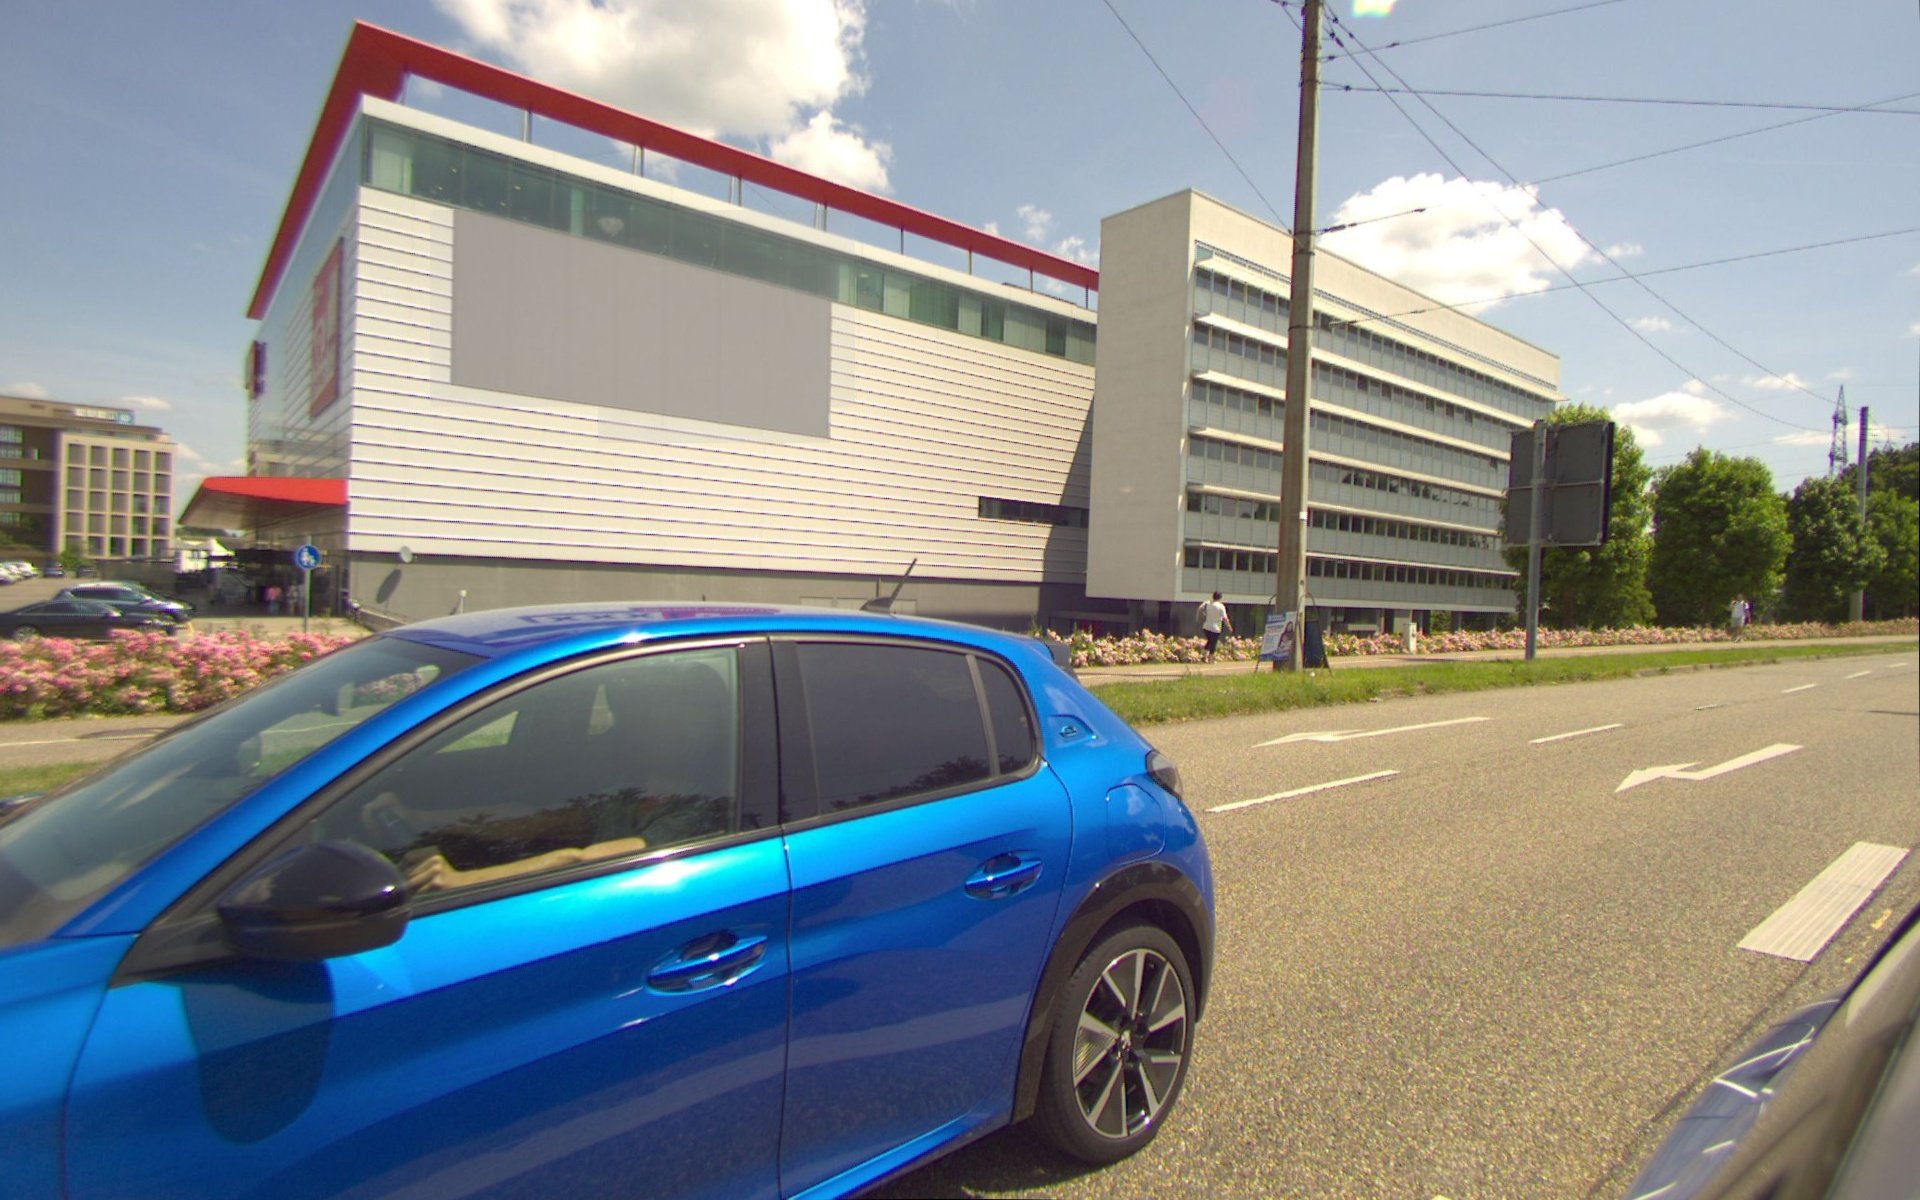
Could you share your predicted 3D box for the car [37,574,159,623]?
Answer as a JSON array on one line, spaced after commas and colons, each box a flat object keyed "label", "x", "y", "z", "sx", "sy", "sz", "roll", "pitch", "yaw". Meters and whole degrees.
[{"label": "car", "x": -37.237, "y": -0.096, "z": 43.806, "sx": 3.930, "sy": 2.039, "sz": 1.997, "roll": 0, "pitch": 1, "yaw": -41}]

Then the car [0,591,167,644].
[{"label": "car", "x": -29.181, "y": 0.548, "z": 33.208, "sx": 4.912, "sy": 1.631, "sz": 1.997, "roll": 0, "pitch": 0, "yaw": -41}]

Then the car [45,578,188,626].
[{"label": "car", "x": -33.268, "y": 0.093, "z": 40.049, "sx": 4.256, "sy": 1.804, "sz": 1.997, "roll": 0, "pitch": -1, "yaw": -41}]

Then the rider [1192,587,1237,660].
[{"label": "rider", "x": 5.288, "y": 0.477, "z": 21.018, "sx": 0.607, "sy": 1.476, "sz": 0.670, "roll": 0, "pitch": 0, "yaw": -41}]

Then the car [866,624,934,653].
[{"label": "car", "x": -3.797, "y": 2.426, "z": 64.440, "sx": 3.930, "sy": 1.632, "sz": 1.997, "roll": 0, "pitch": 0, "yaw": -41}]

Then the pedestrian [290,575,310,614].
[{"label": "pedestrian", "x": -32.671, "y": -0.258, "z": 50.087, "sx": 0.723, "sy": 1.893, "sz": 0.741, "roll": 1, "pitch": 0, "yaw": -42}]

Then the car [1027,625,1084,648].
[{"label": "car", "x": 6.574, "y": 2.489, "z": 69.615, "sx": 3.930, "sy": 1.403, "sz": 1.646, "roll": 0, "pitch": 0, "yaw": -41}]

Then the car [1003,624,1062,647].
[{"label": "car", "x": 5.127, "y": 2.462, "z": 71.732, "sx": 3.930, "sy": 1.465, "sz": 1.997, "roll": 0, "pitch": 0, "yaw": -41}]

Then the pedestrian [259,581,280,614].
[{"label": "pedestrian", "x": -33.587, "y": -0.115, "z": 49.239, "sx": 0.723, "sy": 1.577, "sz": 0.741, "roll": 1, "pitch": 0, "yaw": -42}]

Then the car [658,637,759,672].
[{"label": "car", "x": -11.976, "y": 2.574, "z": 48.313, "sx": 4.278, "sy": 1.416, "sz": 1.996, "roll": 0, "pitch": 0, "yaw": -42}]

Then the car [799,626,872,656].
[{"label": "car", "x": -7.449, "y": 2.425, "z": 60.791, "sx": 3.930, "sy": 1.632, "sz": 1.997, "roll": 0, "pitch": 0, "yaw": -41}]

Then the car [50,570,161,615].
[{"label": "car", "x": -40.565, "y": -0.361, "z": 48.120, "sx": 3.930, "sy": 2.039, "sz": 1.997, "roll": 0, "pitch": 0, "yaw": -41}]

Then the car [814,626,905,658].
[{"label": "car", "x": -5.844, "y": 2.440, "z": 59.178, "sx": 5.056, "sy": 1.632, "sz": 1.997, "roll": 0, "pitch": 0, "yaw": -41}]

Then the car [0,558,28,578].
[{"label": "car", "x": -81.487, "y": -2.703, "z": 84.745, "sx": 4.912, "sy": 1.631, "sz": 1.997, "roll": 0, "pitch": 0, "yaw": -41}]

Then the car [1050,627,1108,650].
[{"label": "car", "x": 8.013, "y": 2.551, "z": 67.922, "sx": 3.930, "sy": 1.338, "sz": 1.607, "roll": 0, "pitch": 0, "yaw": -41}]

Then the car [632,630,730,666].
[{"label": "car", "x": -14.418, "y": 2.446, "z": 52.466, "sx": 4.509, "sy": 1.632, "sz": 1.997, "roll": 0, "pitch": 0, "yaw": -41}]

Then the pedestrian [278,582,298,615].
[{"label": "pedestrian", "x": -32.490, "y": -0.092, "z": 48.924, "sx": 0.723, "sy": 1.577, "sz": 0.741, "roll": 1, "pitch": 0, "yaw": -42}]

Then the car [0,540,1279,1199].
[{"label": "car", "x": -1.123, "y": 0.676, "z": 2.463, "sx": 3.929, "sy": 1.473, "sz": 1.840, "roll": 1, "pitch": -1, "yaw": -41}]

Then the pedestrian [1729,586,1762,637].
[{"label": "pedestrian", "x": 29.584, "y": 0.422, "z": 38.110, "sx": 0.913, "sy": 1.872, "sz": 0.758, "roll": 1, "pitch": 0, "yaw": -38}]

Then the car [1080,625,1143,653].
[{"label": "car", "x": 9.864, "y": 2.505, "z": 65.953, "sx": 3.930, "sy": 1.632, "sz": 1.997, "roll": 0, "pitch": 0, "yaw": -41}]
